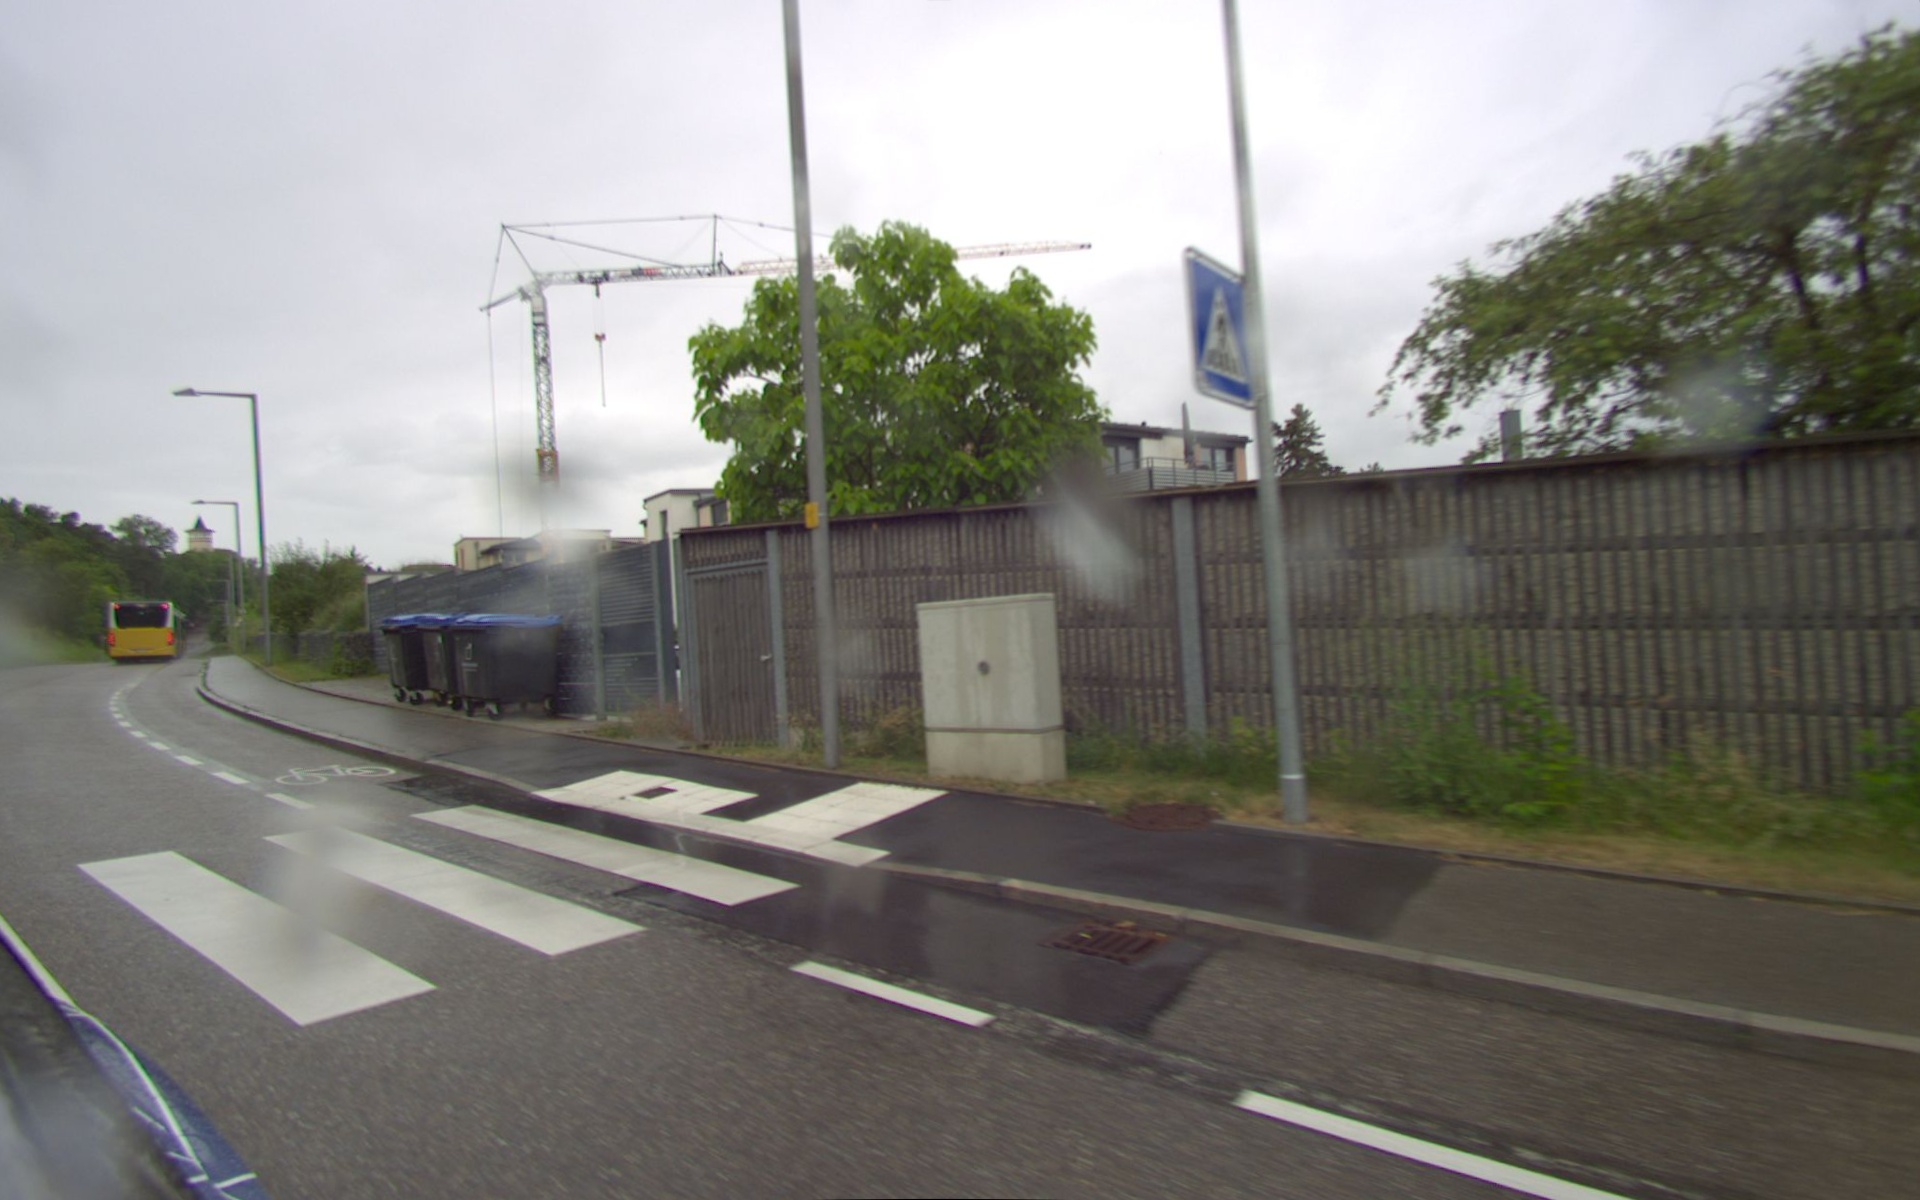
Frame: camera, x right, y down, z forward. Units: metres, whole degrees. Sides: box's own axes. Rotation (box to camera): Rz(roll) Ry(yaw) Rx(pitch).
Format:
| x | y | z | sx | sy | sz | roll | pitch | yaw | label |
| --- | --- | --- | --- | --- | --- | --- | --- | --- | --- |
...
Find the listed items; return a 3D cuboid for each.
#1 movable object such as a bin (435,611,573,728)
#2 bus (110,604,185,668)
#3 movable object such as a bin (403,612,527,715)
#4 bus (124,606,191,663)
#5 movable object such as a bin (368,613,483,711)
| x | y | z | sx | sy | sz | roll | pitch | yaw | label |
| --- | --- | --- | --- | --- | --- | --- | --- | --- | --- |
| -5.930 | 0.872 | 13.157 | 1.363 | 1.331 | 1.119 | -3 | 2 | 44 | movable object such as a bin |
| -42.650 | 1.863 | 53.301 | 2.605 | 3.055 | 7.683 | -1 | -1 | -36 | bus |
| -7.161 | 0.895 | 14.619 | 1.398 | 1.311 | 1.119 | -3 | 2 | 44 | movable object such as a bin |
| -48.086 | 2.032 | 60.856 | 2.605 | 3.090 | 10.881 | -1 | -1 | -36 | bus |
| -8.305 | 0.933 | 15.705 | 1.399 | 1.349 | 1.119 | -3 | 2 | 44 | movable object such as a bin |
